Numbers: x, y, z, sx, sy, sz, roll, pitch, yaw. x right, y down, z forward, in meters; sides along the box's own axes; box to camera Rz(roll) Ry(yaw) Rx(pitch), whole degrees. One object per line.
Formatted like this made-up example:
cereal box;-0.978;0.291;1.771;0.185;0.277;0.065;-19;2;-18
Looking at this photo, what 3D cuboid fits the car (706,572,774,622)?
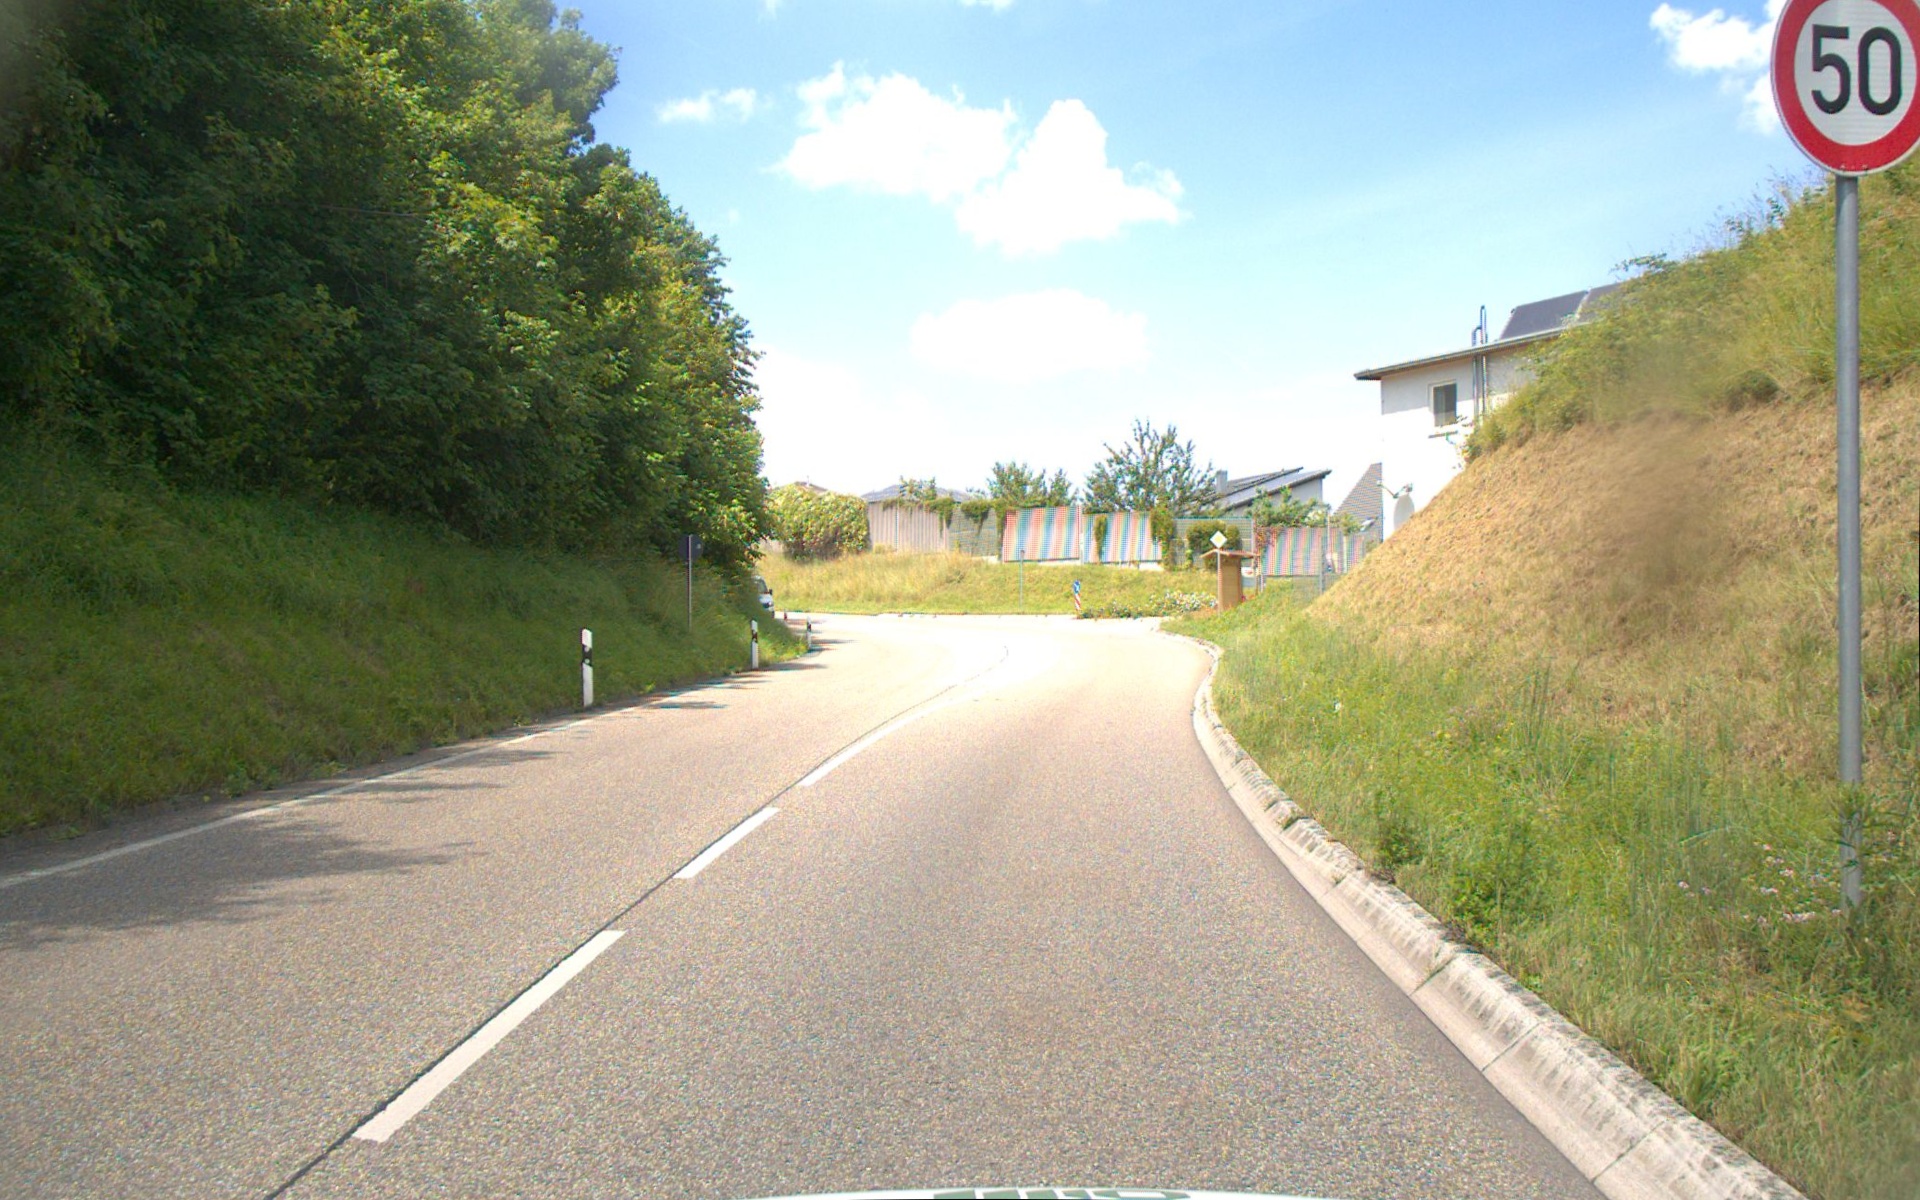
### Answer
car;-10.759;-0.108;80.468;2.055;2.330;5.911;-2;0;-20
